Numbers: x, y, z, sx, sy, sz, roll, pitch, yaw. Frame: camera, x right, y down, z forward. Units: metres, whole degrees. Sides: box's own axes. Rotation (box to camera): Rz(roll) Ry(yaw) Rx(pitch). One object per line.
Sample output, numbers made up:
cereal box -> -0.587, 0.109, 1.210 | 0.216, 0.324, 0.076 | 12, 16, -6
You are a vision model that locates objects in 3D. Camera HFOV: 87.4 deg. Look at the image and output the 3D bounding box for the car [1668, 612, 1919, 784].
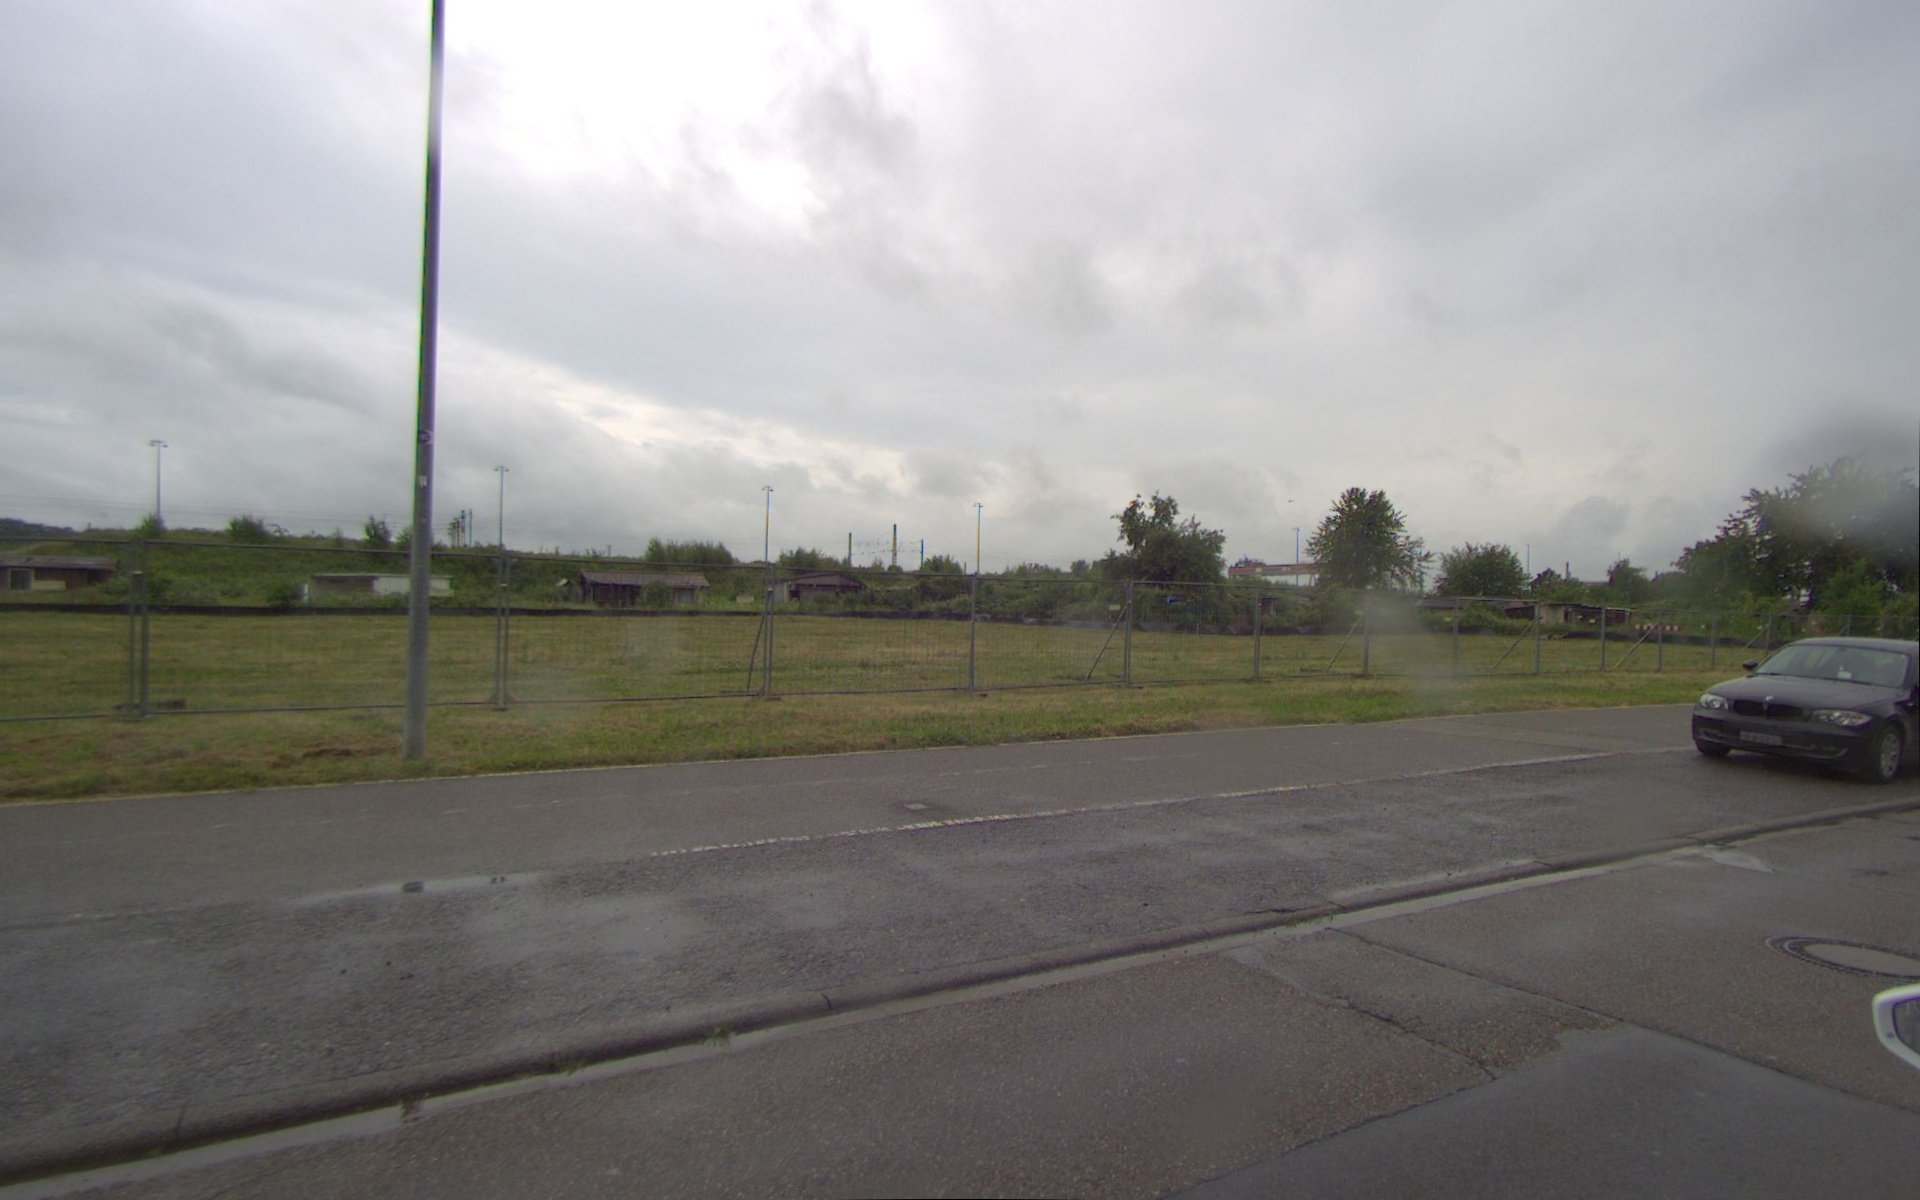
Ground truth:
car -> 10.337, 1.015, 11.683 | 4.104, 1.582, 1.838 | 1, 2, -30
